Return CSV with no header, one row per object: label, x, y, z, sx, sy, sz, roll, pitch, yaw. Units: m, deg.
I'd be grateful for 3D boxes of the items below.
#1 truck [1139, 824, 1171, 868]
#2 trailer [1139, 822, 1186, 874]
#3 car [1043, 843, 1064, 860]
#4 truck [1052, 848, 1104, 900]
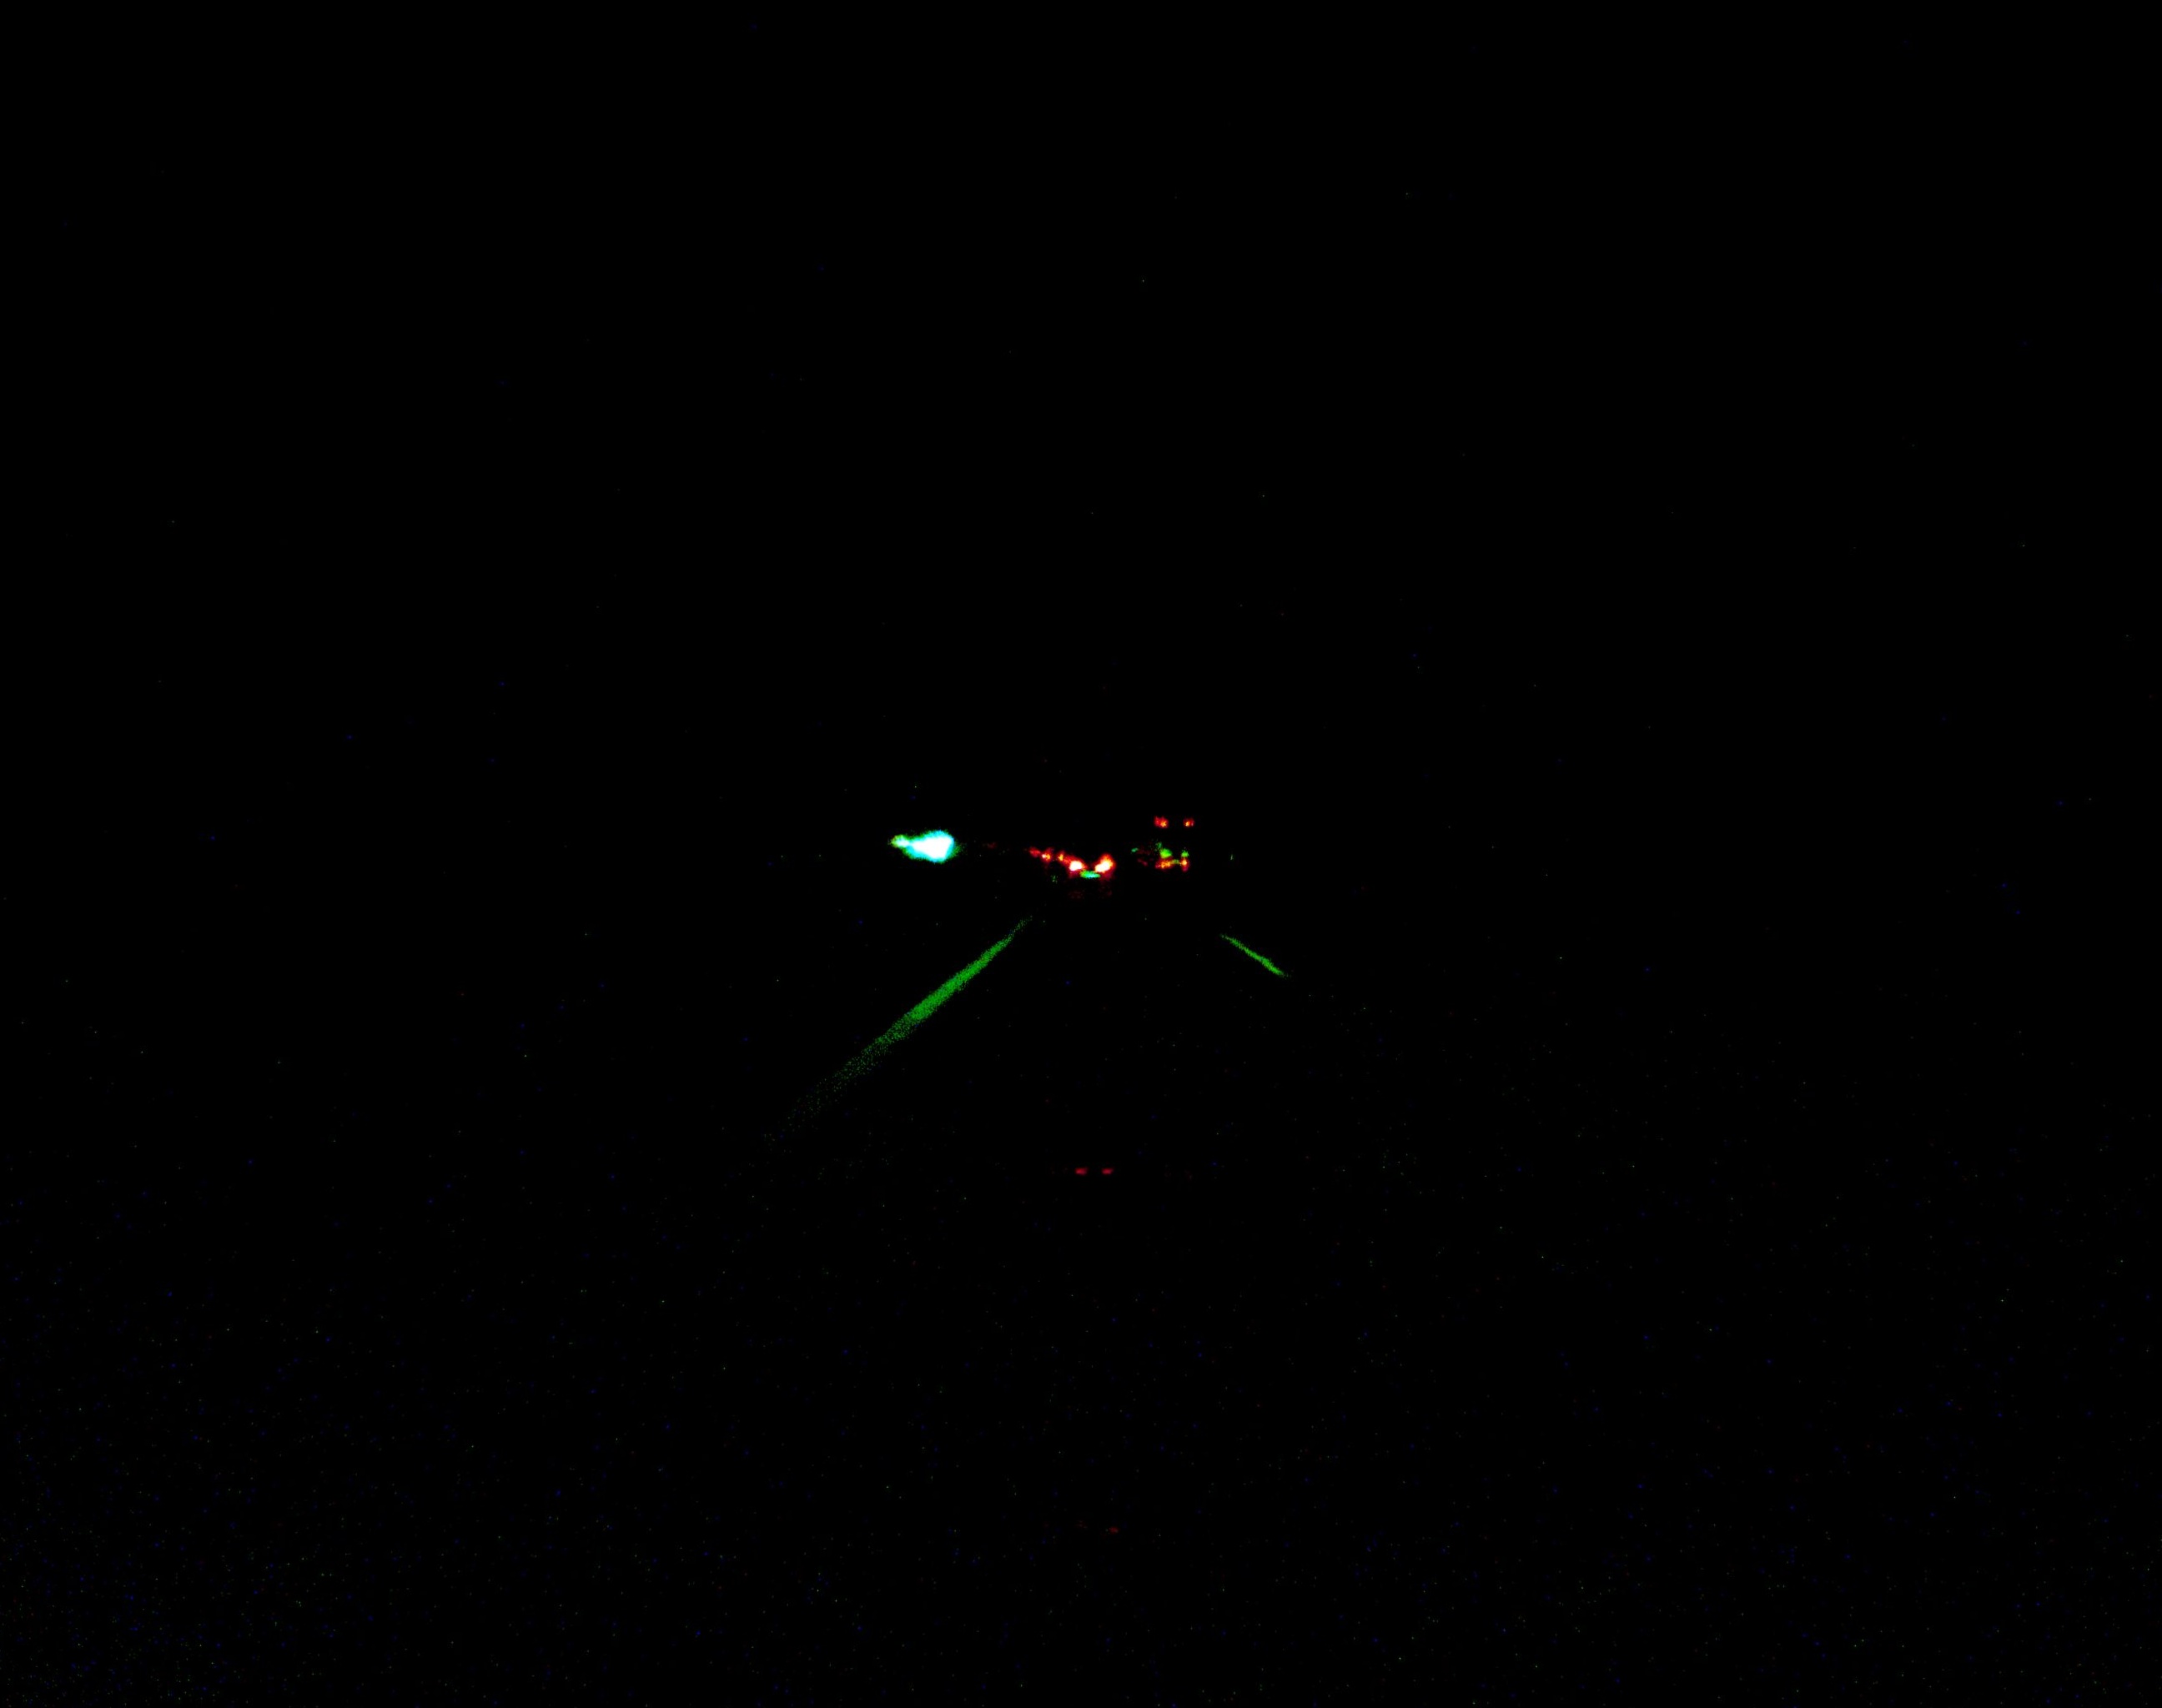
truck,7.297,-0.770,81.296,2.702,4.241,5.292,0,1,0
trailer,7.269,-0.654,74.643,2.731,4.247,13.369,-2,1,0
car,-3.524,-0.277,102.577,1.995,2.014,3.984,-1,-1,-12
truck,-0.041,0.878,40.018,2.137,2.077,6.608,4,1,2
